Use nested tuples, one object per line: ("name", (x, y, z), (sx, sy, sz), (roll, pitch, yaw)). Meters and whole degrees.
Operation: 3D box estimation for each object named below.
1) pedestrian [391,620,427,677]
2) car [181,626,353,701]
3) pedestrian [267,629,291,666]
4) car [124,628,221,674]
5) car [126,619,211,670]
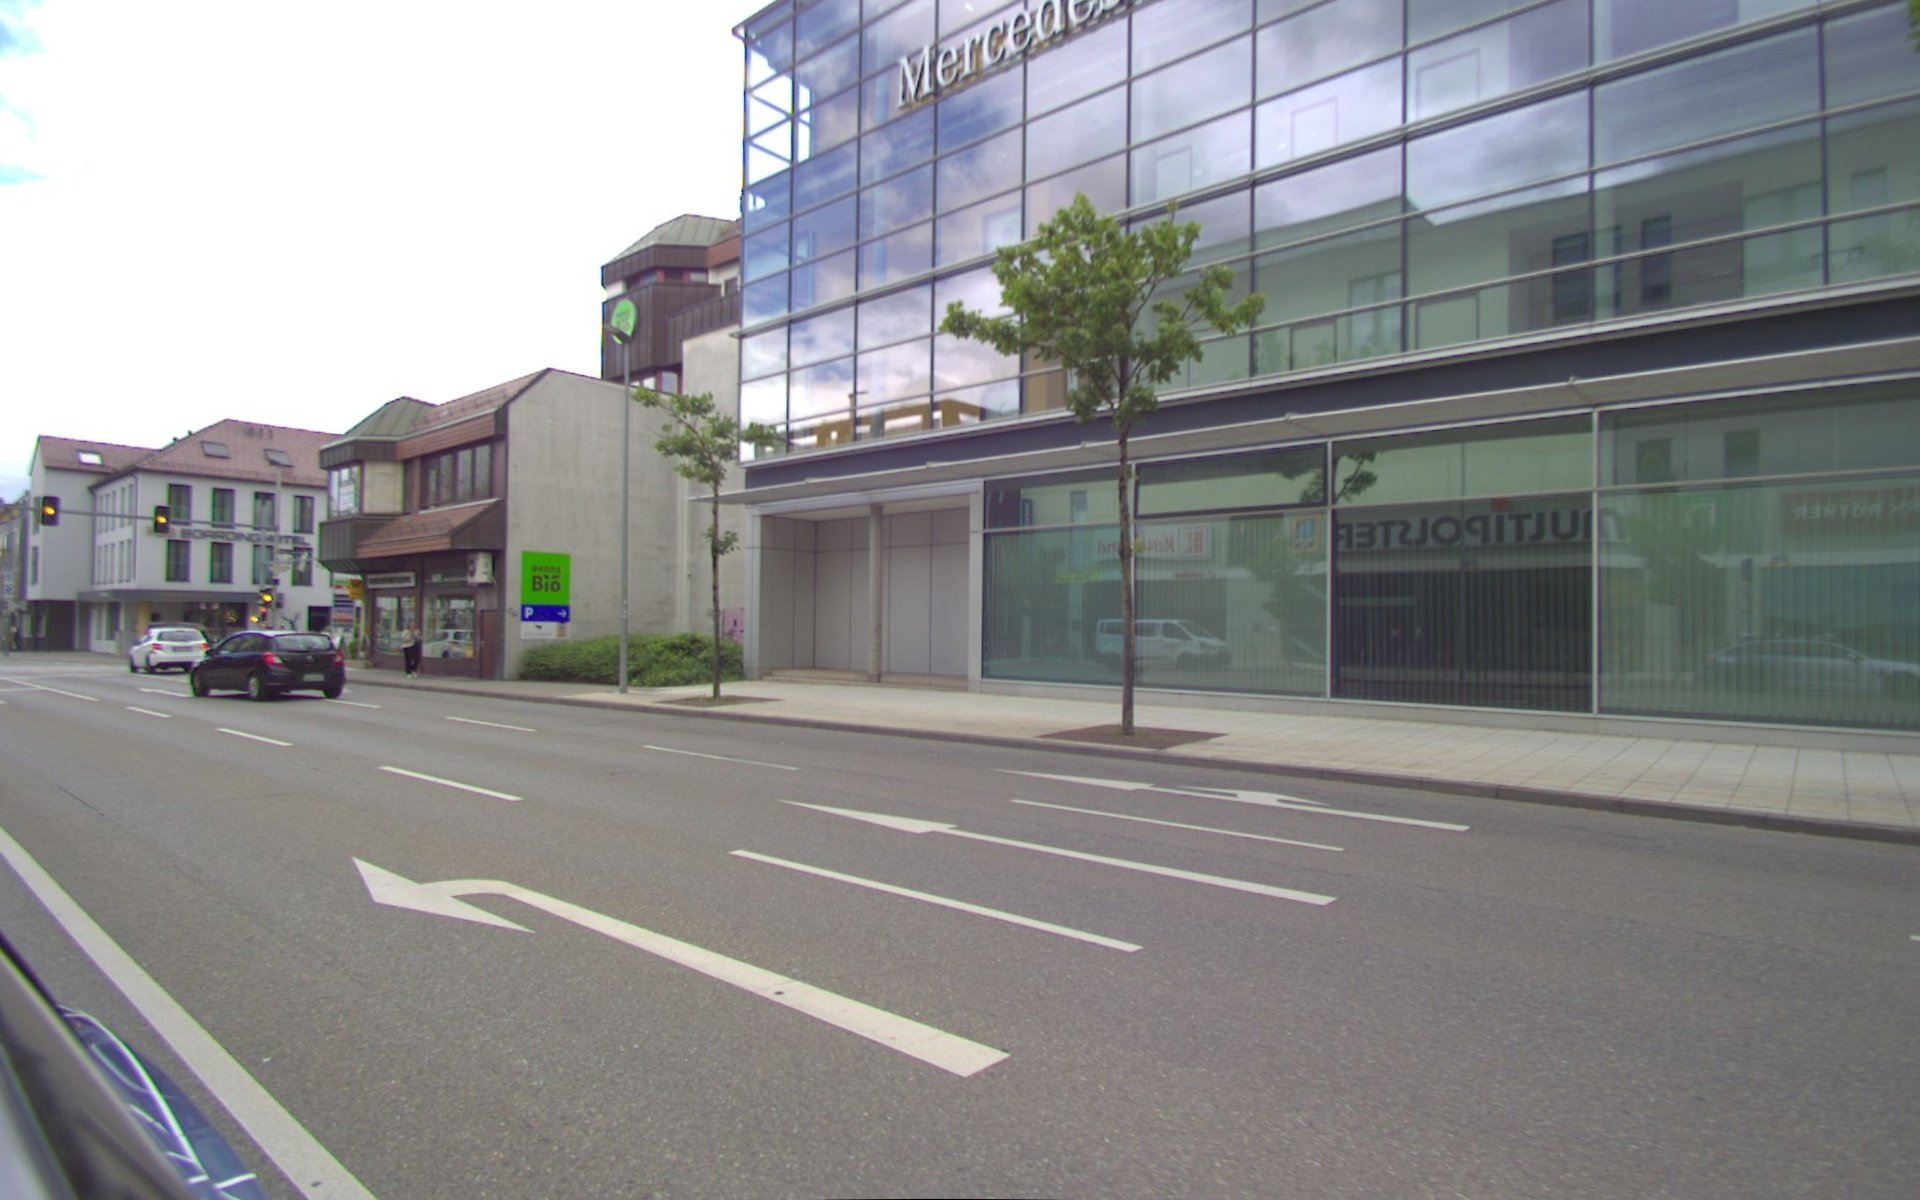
("pedestrian", (-16.054, 1.397, 29.490), (0.693, 1.636, 0.693), (-2, -3, 41))
("car", (-15.123, 1.320, 22.027), (3.991, 1.478, 1.782), (-1, -2, 35))
("pedestrian", (-28.311, 1.962, 42.075), (0.577, 1.527, 0.552), (0, -2, 8))
("car", (-26.802, 1.700, 34.407), (3.999, 1.478, 1.912), (-1, -3, 42))
("car", (-31.049, 1.707, 39.647), (3.999, 1.909, 1.912), (-1, -3, 42))
